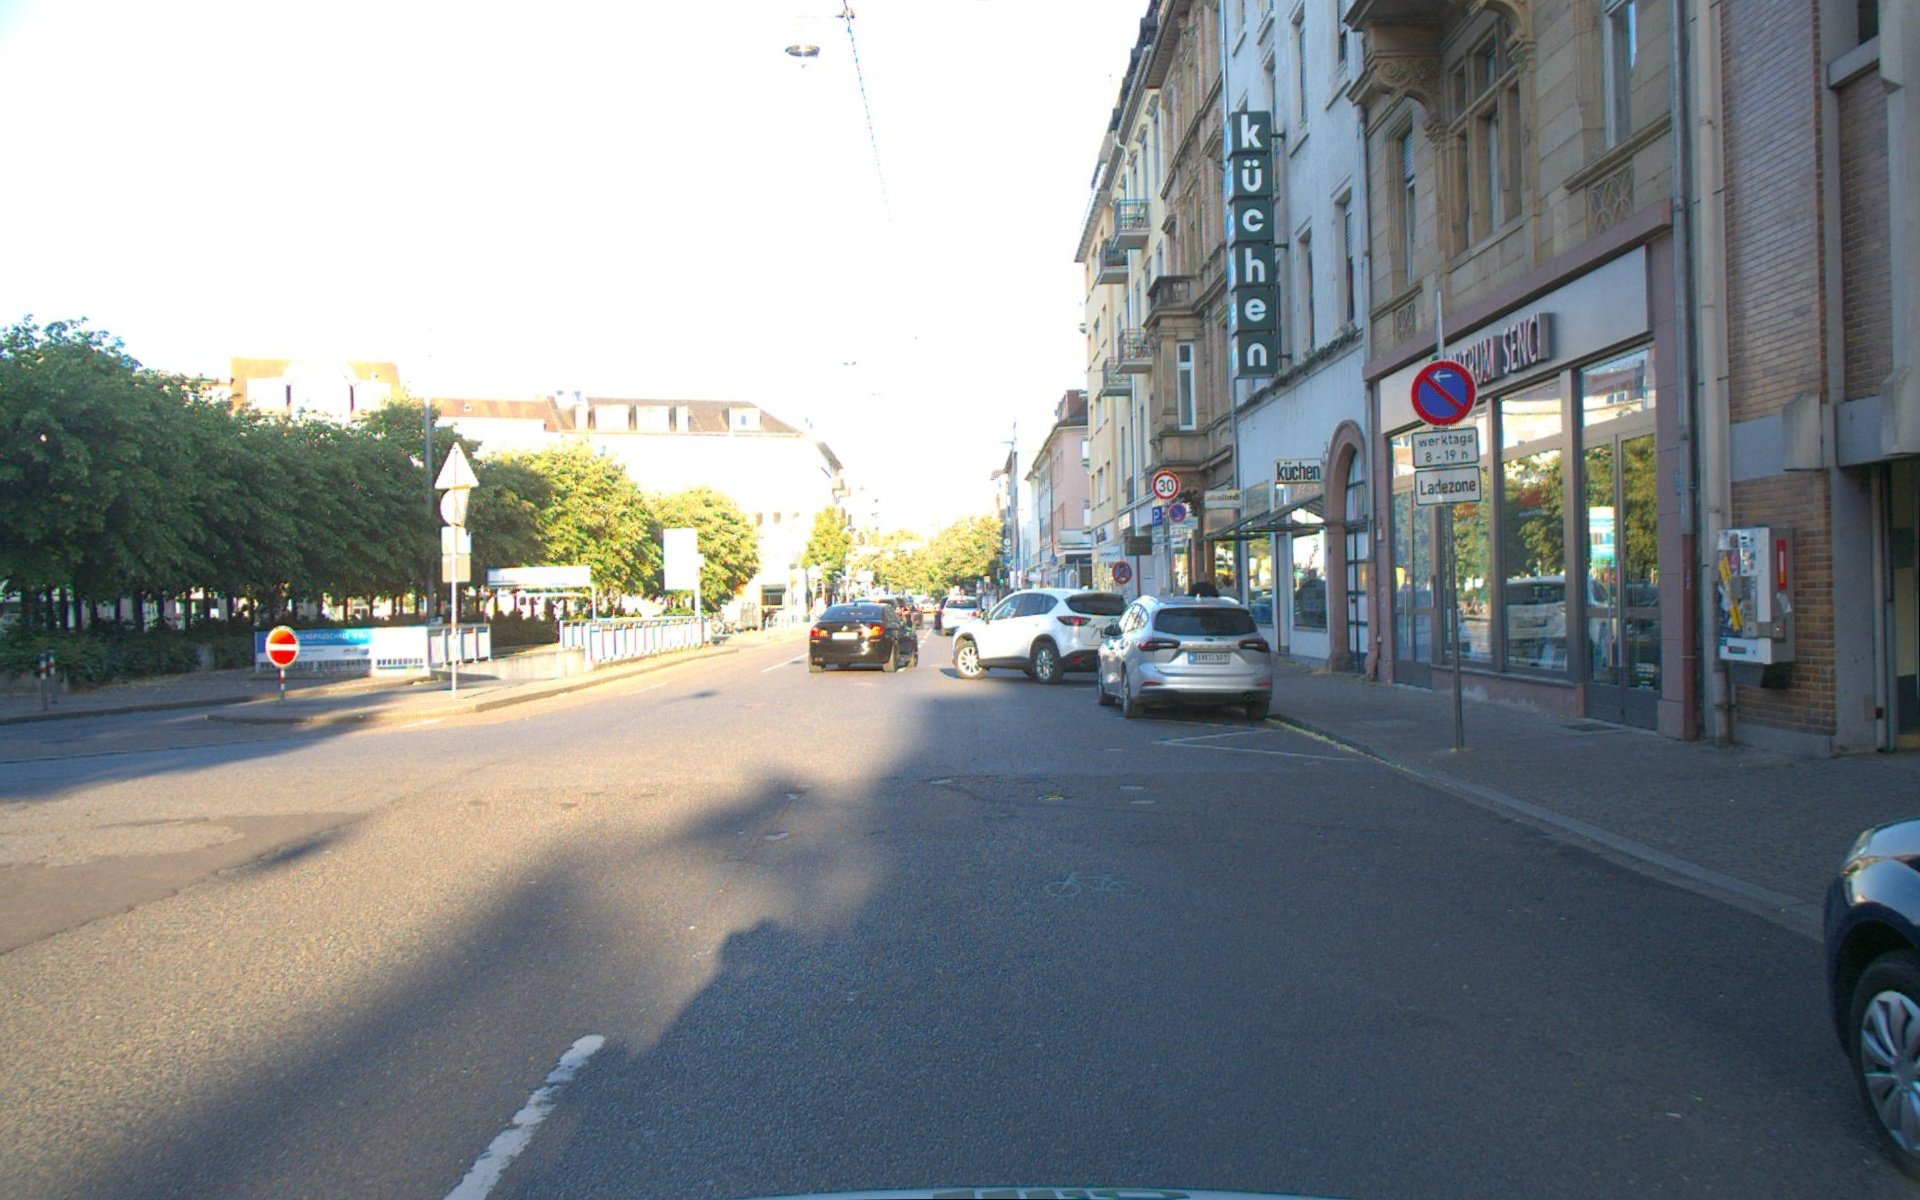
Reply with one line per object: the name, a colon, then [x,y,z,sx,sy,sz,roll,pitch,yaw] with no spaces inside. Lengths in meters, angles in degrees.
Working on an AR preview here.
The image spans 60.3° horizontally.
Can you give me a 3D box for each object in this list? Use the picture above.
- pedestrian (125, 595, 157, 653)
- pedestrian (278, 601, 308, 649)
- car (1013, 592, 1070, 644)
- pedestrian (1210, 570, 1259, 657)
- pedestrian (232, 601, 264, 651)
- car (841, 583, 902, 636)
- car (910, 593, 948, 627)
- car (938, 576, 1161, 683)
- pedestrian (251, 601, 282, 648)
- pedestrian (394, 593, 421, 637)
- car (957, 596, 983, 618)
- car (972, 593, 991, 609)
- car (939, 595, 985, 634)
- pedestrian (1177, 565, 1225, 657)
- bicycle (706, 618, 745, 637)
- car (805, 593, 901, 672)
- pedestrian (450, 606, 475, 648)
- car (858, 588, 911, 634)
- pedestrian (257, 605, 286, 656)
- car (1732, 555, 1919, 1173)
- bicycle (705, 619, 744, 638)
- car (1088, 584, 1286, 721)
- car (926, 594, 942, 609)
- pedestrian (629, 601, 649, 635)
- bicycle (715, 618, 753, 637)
pedestrian: [-22.989,0.665,46.450,0.690,1.623,0.673,-1,0,-19]
pedestrian: [-23.052,0.867,57.178,0.774,1.623,0.568,-1,0,19]
car: [2.714,0.592,55.503,1.694,1.679,4.284,1,0,0]
pedestrian: [5.744,0.276,34.701,0.757,1.741,1.042,-3,0,-1]
pedestrian: [-23.387,0.866,54.314,0.774,1.623,0.568,-1,0,19]
car: [-2.904,0.302,55.030,1.858,1.678,4.103,-1,0,-1]
car: [-1.544,0.491,83.080,1.858,1.609,3.851,2,0,-1]
car: [1.557,0.520,30.551,1.974,1.792,4.418,-2,0,-31]
pedestrian: [-24.045,0.845,57.340,0.774,1.623,0.568,-1,0,19]
pedestrian: [-20.429,0.542,61.174,0.663,1.623,0.677,-1,0,19]
car: [0.732,0.540,123.071,1.858,1.609,3.851,0,0,-1]
car: [2.227,0.107,174.744,1.858,1.609,3.851,-1,0,-1]
car: [0.051,0.585,69.744,1.858,1.609,3.999,0,0,-1]
pedestrian: [5.033,0.228,34.598,0.757,1.859,1.010,-3,0,-1]
bicycle: [-11.454,1.325,80.782,1.789,0.868,0.483,2,0,-4]
car: [-2.268,0.669,35.919,1.858,1.609,3.999,0,0,-1]
pedestrian: [-19.556,1.070,64.975,0.663,1.623,0.677,-1,0,19]
car: [-2.860,0.402,63.346,1.858,1.678,4.103,-1,0,-1]
pedestrian: [-22.538,0.996,54.154,0.663,1.623,0.568,-1,0,19]
car: [3.255,0.631,3.061,1.723,1.563,4.000,-4,0,1]
bicycle: [-11.123,1.337,78.071,1.789,0.868,0.483,2,0,-4]
car: [2.808,0.620,21.512,1.723,1.563,4.819,1,0,-2]
car: [-2.790,0.143,177.982,1.743,1.574,3.999,-1,0,-1]
pedestrian: [-15.801,0.884,81.482,0.774,1.623,0.568,-1,0,19]
bicycle: [-10.917,1.338,79.876,1.789,0.868,0.483,2,0,-4]
